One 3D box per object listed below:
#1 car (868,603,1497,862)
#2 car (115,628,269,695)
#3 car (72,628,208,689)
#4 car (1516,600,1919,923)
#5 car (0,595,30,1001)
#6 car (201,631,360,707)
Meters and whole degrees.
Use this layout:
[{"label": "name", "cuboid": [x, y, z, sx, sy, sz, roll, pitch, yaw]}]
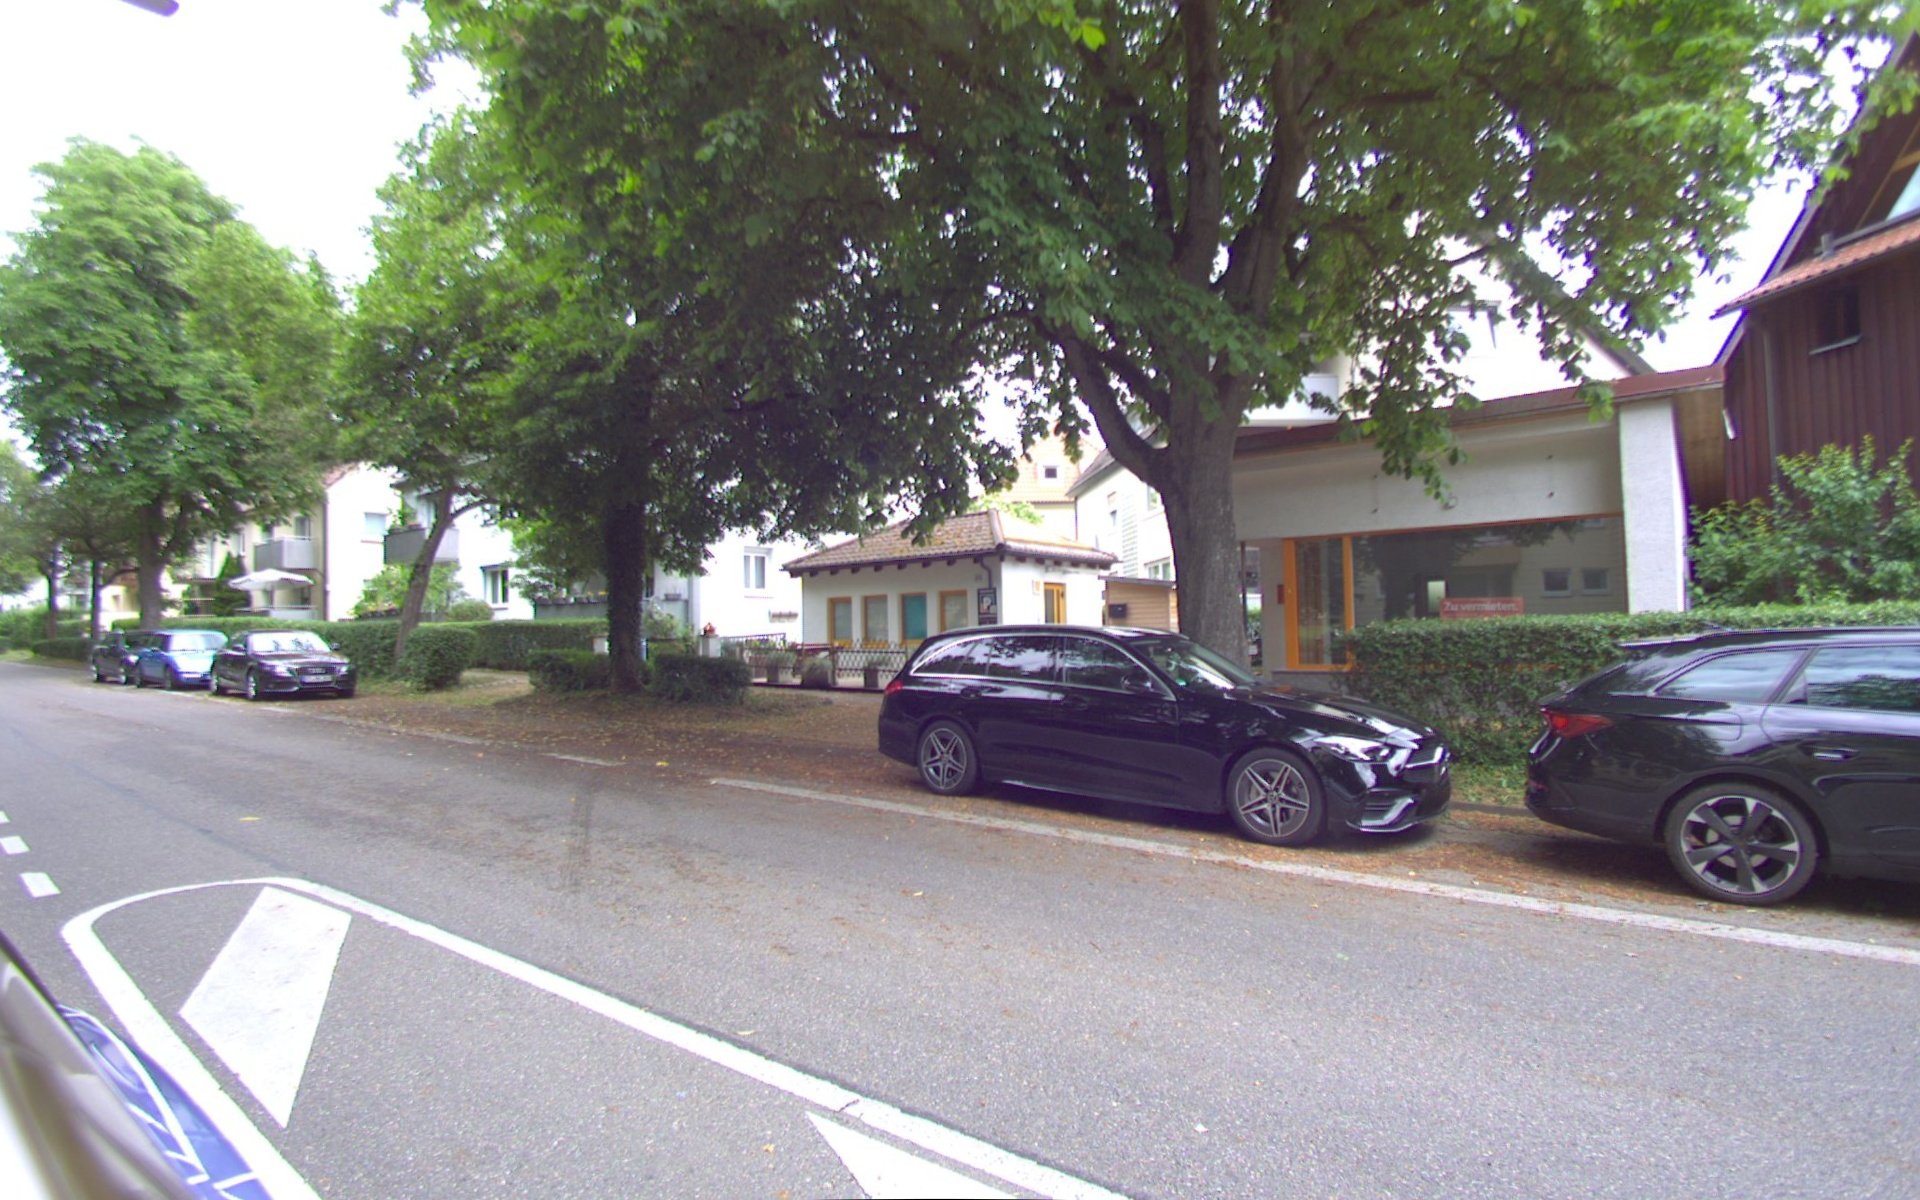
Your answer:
[{"label": "car", "cuboid": [1.557, 0.865, 8.201, 4.612, 1.511, 1.973, -2, -3, 41]}, {"label": "car", "cuboid": [-18.914, 1.464, 24.861, 4.558, 1.512, 1.866, -2, -3, 37]}, {"label": "car", "cuboid": [-22.602, 1.563, 27.854, 4.558, 1.545, 1.866, -2, -3, 37]}, {"label": "car", "cuboid": [5.451, 0.757, 4.988, 4.536, 1.497, 1.674, -2, -3, 38]}, {"label": "car", "cuboid": [-5.921, 0.777, 4.597, 4.612, 1.511, 1.973, -2, -3, 41]}, {"label": "car", "cuboid": [-14.220, 1.378, 21.094, 4.169, 1.414, 1.713, -2, -3, 41]}]
